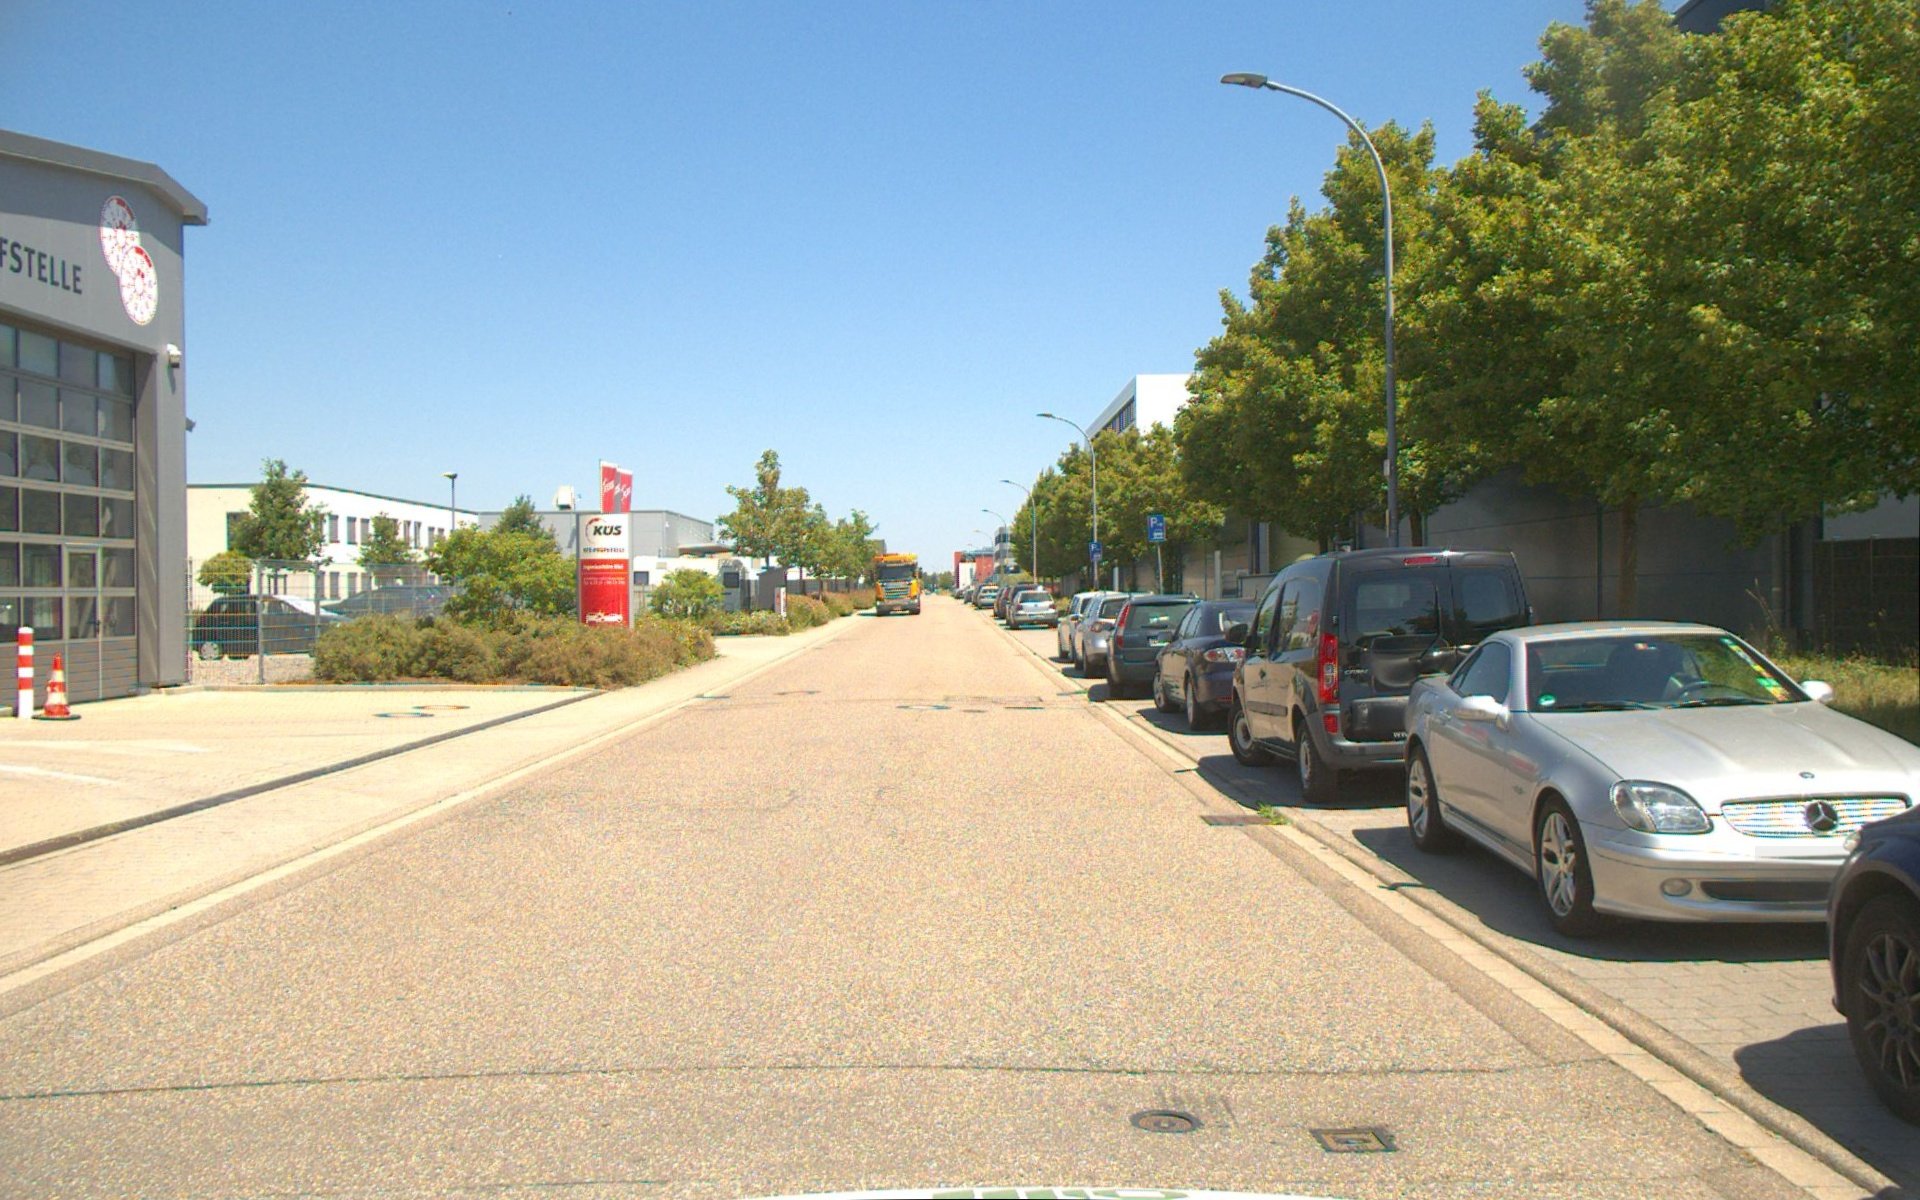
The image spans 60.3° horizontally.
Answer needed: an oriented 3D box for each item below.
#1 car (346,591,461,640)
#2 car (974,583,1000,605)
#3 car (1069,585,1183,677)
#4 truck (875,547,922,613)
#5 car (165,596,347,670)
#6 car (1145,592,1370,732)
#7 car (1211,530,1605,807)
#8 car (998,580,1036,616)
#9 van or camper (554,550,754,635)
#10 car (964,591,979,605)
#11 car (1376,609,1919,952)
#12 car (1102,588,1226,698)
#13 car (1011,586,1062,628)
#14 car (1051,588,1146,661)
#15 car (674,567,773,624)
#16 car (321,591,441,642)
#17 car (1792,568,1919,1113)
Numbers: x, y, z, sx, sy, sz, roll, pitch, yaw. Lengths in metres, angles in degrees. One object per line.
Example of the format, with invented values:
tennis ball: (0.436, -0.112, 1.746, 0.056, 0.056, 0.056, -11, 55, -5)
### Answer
car: (-22.174, 0.585, 65.961, 3.906, 1.847, 1.916, -1, 0, -2)
car: (1.786, -0.404, 109.776, 1.553, 1.434, 3.499, -1, 0, -1)
car: (3.117, 0.539, 31.843, 1.712, 1.589, 4.506, -2, 1, 0)
truck: (-3.539, -1.158, 96.413, 2.399, 3.574, 8.271, -2, 1, -1)
car: (-15.745, 0.725, 37.118, 3.433, 1.579, 1.556, -1, 0, -6)
car: (3.448, 0.670, 20.074, 1.813, 1.456, 4.712, -1, 0, -1)
car: (3.420, 0.476, 13.575, 1.953, 1.857, 4.353, -1, 0, -1)
car: (2.772, -0.112, 80.747, 1.686, 1.724, 3.984, -1, 0, 0)
van or camper: (-11.844, -0.292, 64.506, 7.235, 3.090, 2.789, -1, 0, -2)
car: (1.196, -0.174, 174.194, 1.465, 1.434, 3.499, -1, 0, -1)
car: (3.479, 0.726, 8.528, 1.676, 1.310, 4.115, -1, -1, 1)
car: (3.120, 0.620, 26.006, 1.673, 1.531, 4.708, -1, 0, 4)
car: (2.873, 0.252, 62.858, 1.683, 1.475, 3.645, -1, 0, -1)
car: (3.090, 0.511, 37.442, 1.603, 1.494, 3.743, -2, 1, -3)
car: (-11.535, -0.216, 80.828, 4.623, 2.631, 1.998, -1, 0, -5)
car: (-22.189, 0.610, 63.513, 3.906, 1.847, 1.916, -1, 0, -2)
car: (3.526, 0.665, 3.040, 1.791, 1.519, 4.479, -2, 0, 1)
